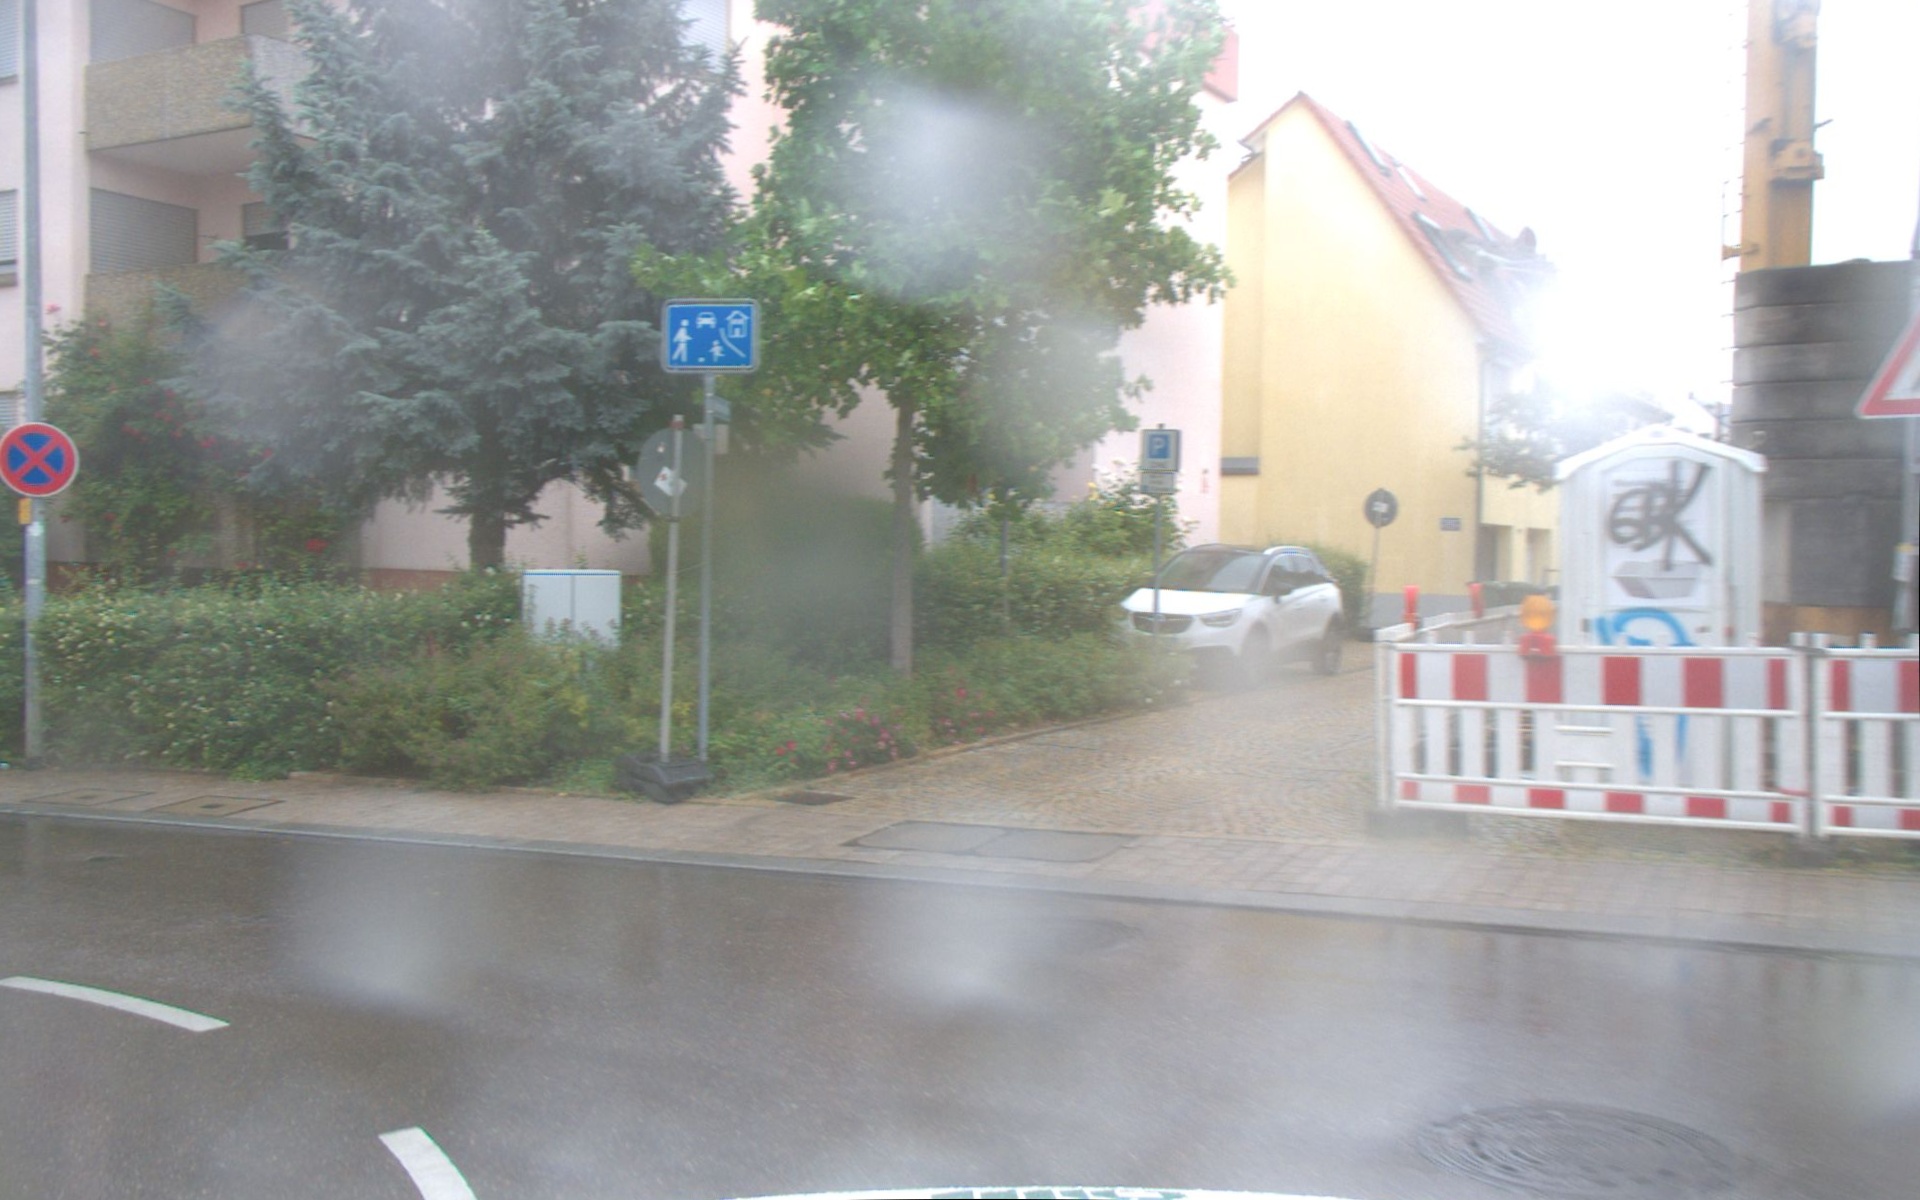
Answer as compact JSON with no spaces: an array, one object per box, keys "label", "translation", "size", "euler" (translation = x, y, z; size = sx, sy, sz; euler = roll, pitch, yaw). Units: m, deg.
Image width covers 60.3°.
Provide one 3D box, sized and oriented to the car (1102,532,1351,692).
[{"label":"car","translation":[3.330,0.051,20.089],"size":[1.571,1.707,3.929],"euler":[2,3,32]}]
